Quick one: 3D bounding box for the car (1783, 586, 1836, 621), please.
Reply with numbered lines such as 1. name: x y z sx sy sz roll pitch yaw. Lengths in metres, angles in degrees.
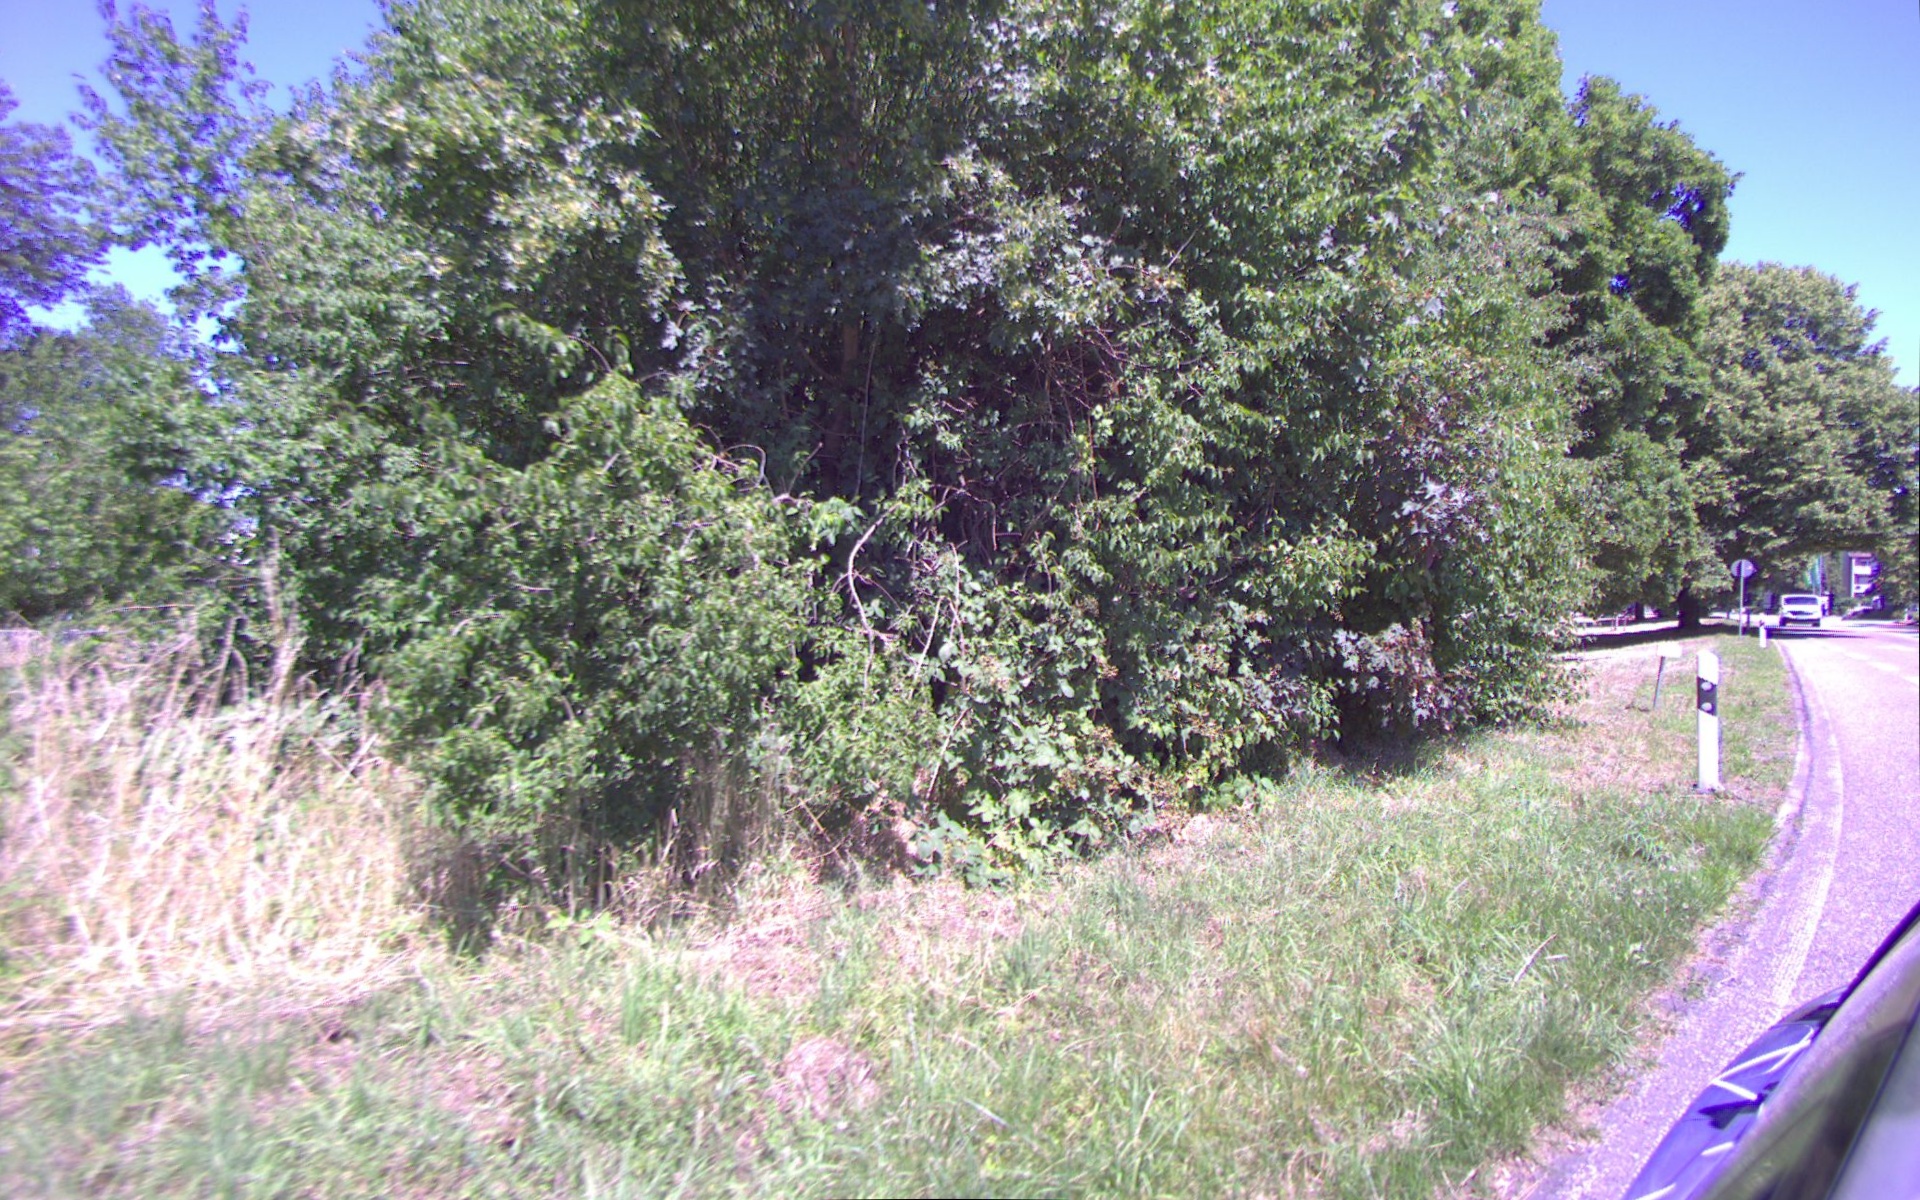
1. car: 52.369 0.256 62.434 2.082 2.039 4.349 0 -2 35
